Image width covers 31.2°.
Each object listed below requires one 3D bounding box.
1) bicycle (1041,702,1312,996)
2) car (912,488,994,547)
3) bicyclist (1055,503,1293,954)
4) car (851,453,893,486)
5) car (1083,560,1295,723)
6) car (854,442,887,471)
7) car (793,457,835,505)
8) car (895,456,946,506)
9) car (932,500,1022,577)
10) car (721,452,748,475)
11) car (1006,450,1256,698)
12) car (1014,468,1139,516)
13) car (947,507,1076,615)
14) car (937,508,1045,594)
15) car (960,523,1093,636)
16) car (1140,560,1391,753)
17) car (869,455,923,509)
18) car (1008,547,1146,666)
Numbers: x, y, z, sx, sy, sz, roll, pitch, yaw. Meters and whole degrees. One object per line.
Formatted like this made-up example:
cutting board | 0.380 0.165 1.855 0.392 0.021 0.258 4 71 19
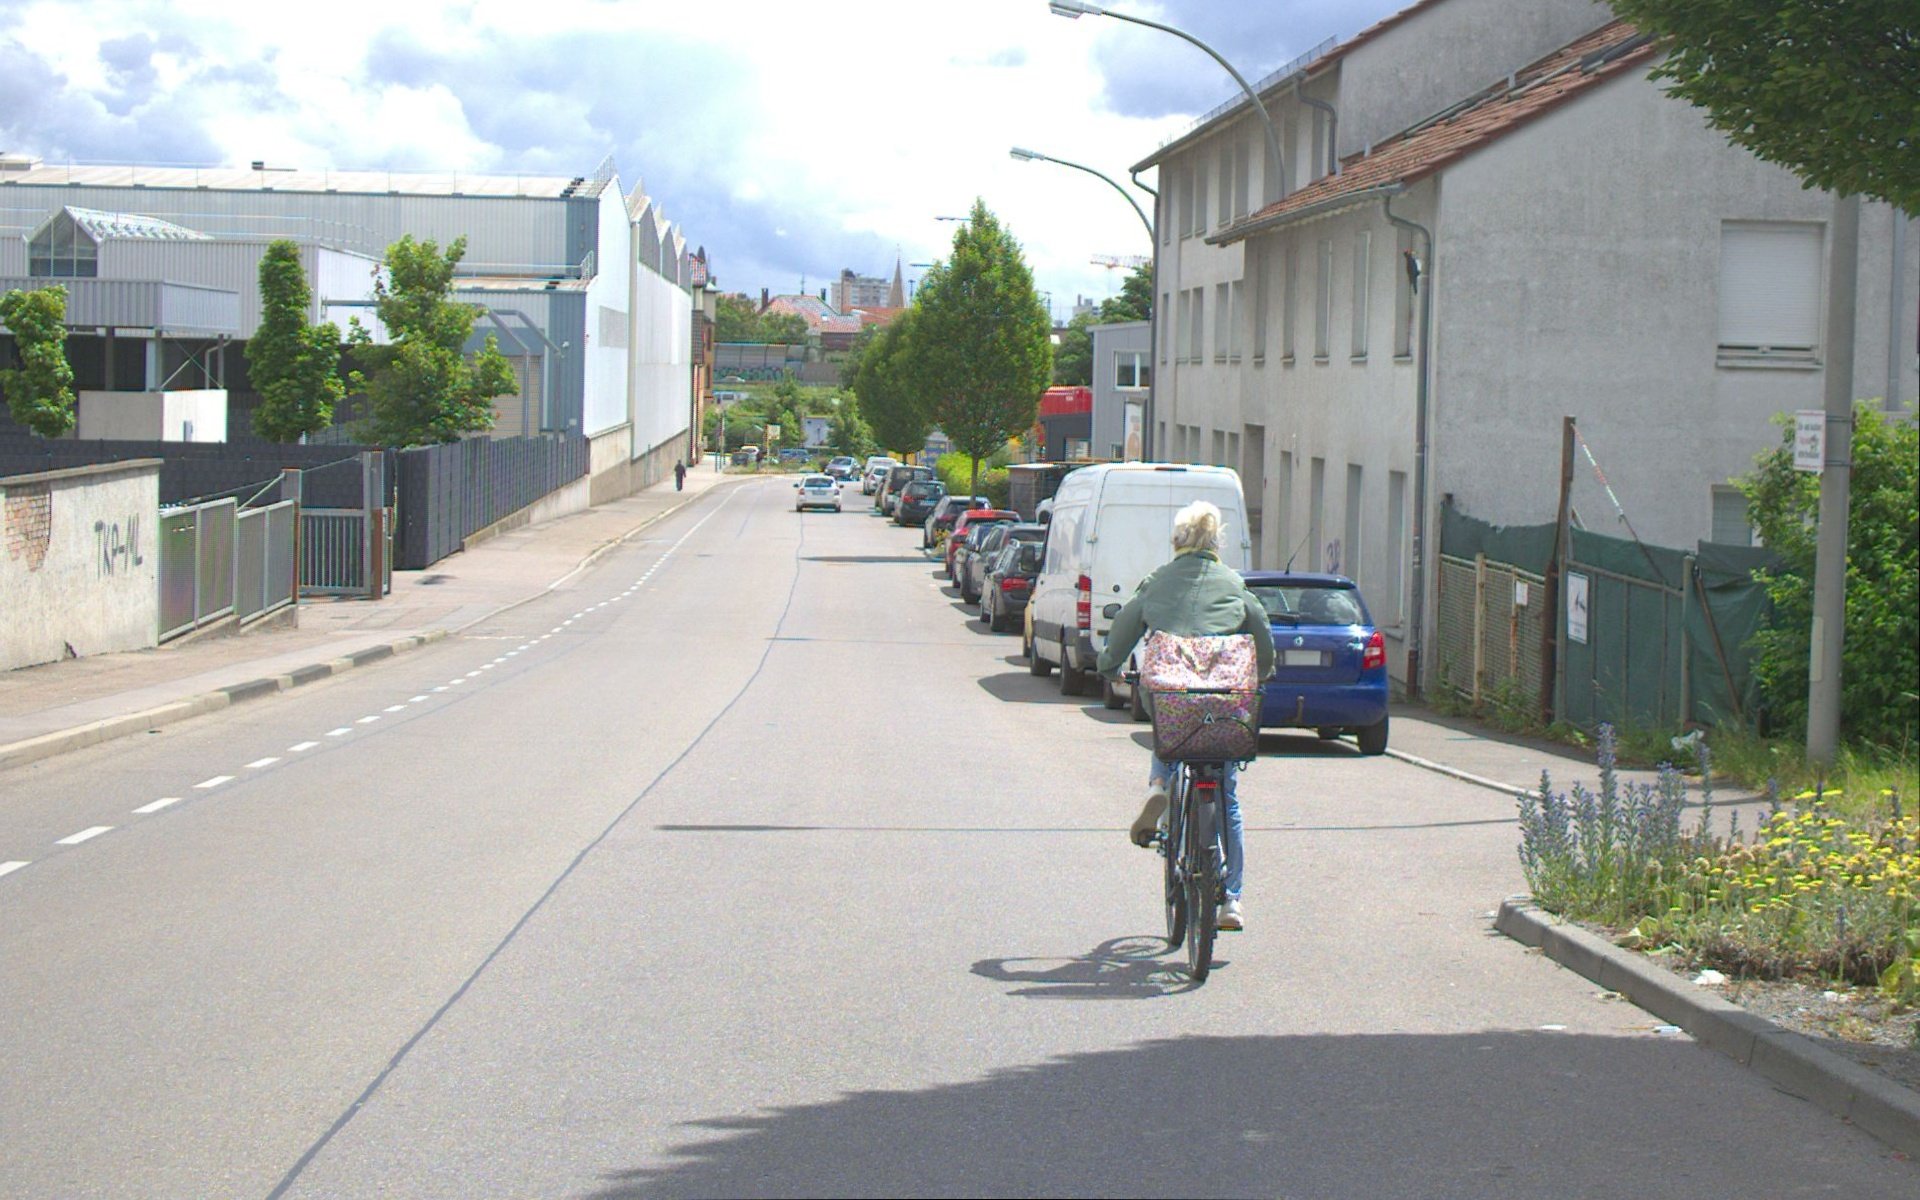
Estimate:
bicycle | 0.773 0.892 12.803 0.740 0.972 1.732 1 -1 -5
car | -0.213 -2.201 90.880 1.791 1.460 4.709 1 2 -4
bicyclist | 0.786 0.463 12.815 0.739 1.621 0.732 1 1 -5
car | -4.520 -6.719 176.405 1.701 1.522 3.739 4 2 -7
car | 2.249 0.373 34.616 1.592 1.505 3.791 1 1 -4
car | -4.875 -7.808 187.260 1.701 1.522 3.739 2 2 -1
car | -5.771 -4.672 135.271 1.566 1.780 3.606 1 1 -3
car | -1.356 -4.062 117.438 1.679 1.632 4.123 2 2 -1
car | 0.341 -1.364 74.907 1.735 1.467 4.262 2 3 -2
car | -15.925 -9.668 243.035 1.852 1.481 4.001 1 1 -3
car | 1.897 -0.330 40.728 2.033 2.632 7.284 1 1 -4
car | 3.756 -3.488 111.258 1.720 1.457 4.073 -4 4 -41
car | 0.900 -0.745 62.634 1.676 1.632 4.798 3 3 -6
car | 0.575 -0.995 68.206 1.734 1.418 4.862 2 3 -4
car | 1.056 -0.379 57.061 1.704 1.504 5.089 3 3 -4
car | 2.571 0.434 29.776 1.566 1.505 4.095 1 1 -3
car | -2.491 -4.574 132.373 1.869 1.983 5.145 1 2 -3
car | 1.562 0.061 46.961 1.592 1.442 3.791 2 2 -2
